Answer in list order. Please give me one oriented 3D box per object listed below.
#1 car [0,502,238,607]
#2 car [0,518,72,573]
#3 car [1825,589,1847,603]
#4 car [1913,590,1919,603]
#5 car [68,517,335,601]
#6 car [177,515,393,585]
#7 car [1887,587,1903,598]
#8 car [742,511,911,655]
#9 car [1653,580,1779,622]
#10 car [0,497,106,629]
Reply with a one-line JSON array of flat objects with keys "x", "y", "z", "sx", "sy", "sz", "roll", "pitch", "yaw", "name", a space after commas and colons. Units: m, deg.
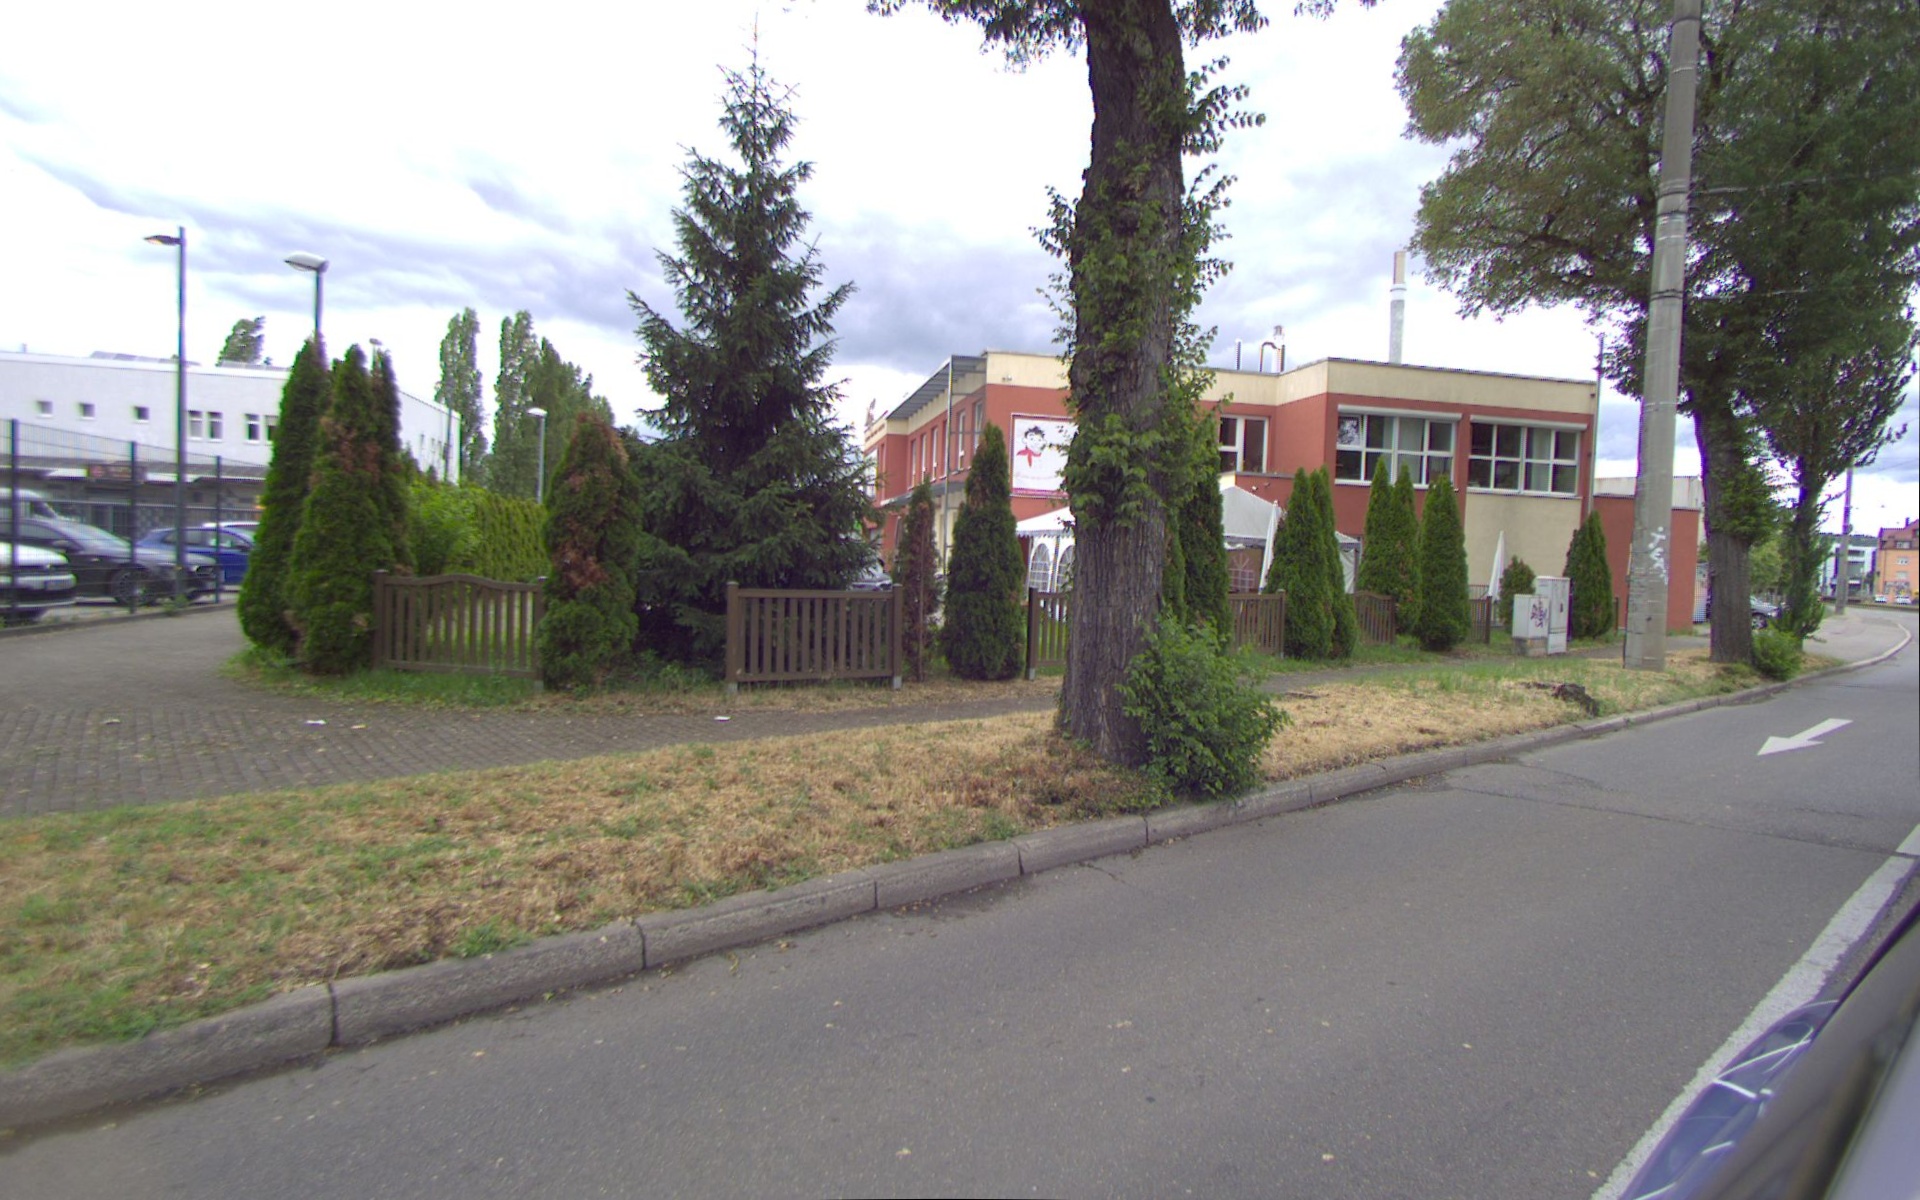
[{"x": -15.561, "y": -0.805, "z": 17.658, "sx": 4.407, "sy": 1.686, "sz": 2.005, "roll": 1, "pitch": 2, "yaw": -14, "name": "car"}, {"x": -31.231, "y": -1.714, "z": 32.072, "sx": 4.181, "sy": 1.670, "sz": 2.004, "roll": 0, "pitch": 0, "yaw": -17, "name": "car"}, {"x": 109.083, "y": -0.529, "z": 126.025, "sx": 1.864, "sy": 1.772, "sz": 3.937, "roll": 0, "pitch": 0, "yaw": 44, "name": "car"}, {"x": 151.969, "y": -0.613, "z": 159.797, "sx": 1.992, "sy": 2.039, "sz": 3.940, "roll": 0, "pitch": 0, "yaw": 42, "name": "car"}, {"x": -17.023, "y": -0.919, "z": 22.964, "sx": 4.407, "sy": 1.686, "sz": 2.005, "roll": 1, "pitch": 2, "yaw": -14, "name": "car"}, {"x": -17.980, "y": -1.316, "z": 27.197, "sx": 4.407, "sy": 1.686, "sz": 2.005, "roll": 1, "pitch": 2, "yaw": -14, "name": "car"}, {"x": 166.803, "y": -1.381, "z": 180.630, "sx": 1.992, "sy": 2.039, "sz": 3.940, "roll": 0, "pitch": 0, "yaw": 42, "name": "car"}, {"x": -2.306, "y": -0.261, "z": 16.476, "sx": 1.958, "sy": 2.039, "sz": 4.008, "roll": 0, "pitch": 0, "yaw": -19, "name": "car"}, {"x": 31.029, "y": 0.019, "z": 41.590, "sx": 3.986, "sy": 1.666, "sz": 1.867, "roll": 0, "pitch": 0, "yaw": 43, "name": "car"}, {"x": -14.437, "y": -0.554, "z": 13.352, "sx": 4.407, "sy": 1.686, "sz": 2.005, "roll": 1, "pitch": 2, "yaw": -14, "name": "car"}]
